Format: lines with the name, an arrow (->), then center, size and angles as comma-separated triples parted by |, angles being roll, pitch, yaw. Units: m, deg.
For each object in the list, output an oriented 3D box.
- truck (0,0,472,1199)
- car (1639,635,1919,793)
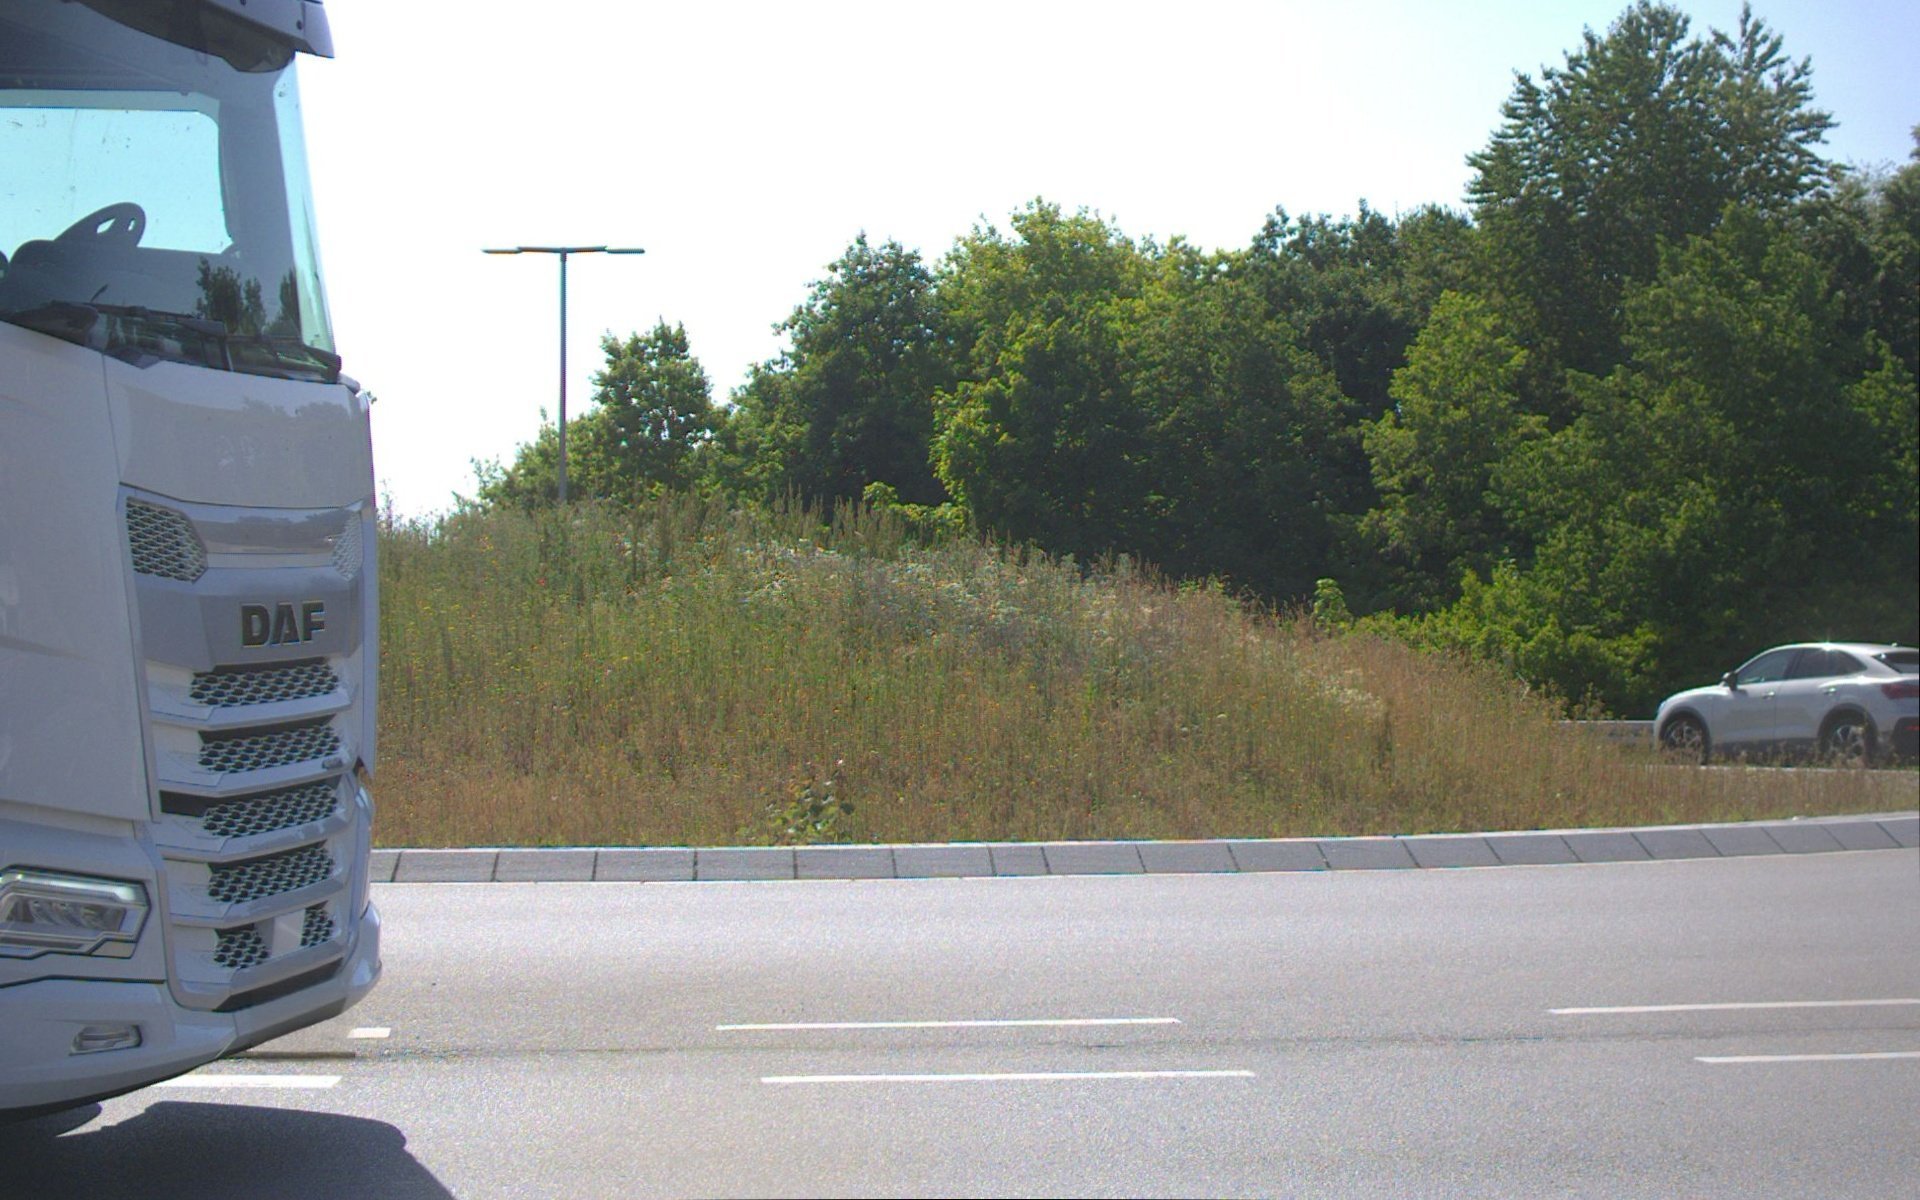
truck -> -4.795, -0.604, 9.056 | 6.416, 4.093, 2.662 | 1, 0, 11
car -> 9.782, 1.241, 38.659 | 1.841, 1.590, 4.325 | 1, 0, -29
